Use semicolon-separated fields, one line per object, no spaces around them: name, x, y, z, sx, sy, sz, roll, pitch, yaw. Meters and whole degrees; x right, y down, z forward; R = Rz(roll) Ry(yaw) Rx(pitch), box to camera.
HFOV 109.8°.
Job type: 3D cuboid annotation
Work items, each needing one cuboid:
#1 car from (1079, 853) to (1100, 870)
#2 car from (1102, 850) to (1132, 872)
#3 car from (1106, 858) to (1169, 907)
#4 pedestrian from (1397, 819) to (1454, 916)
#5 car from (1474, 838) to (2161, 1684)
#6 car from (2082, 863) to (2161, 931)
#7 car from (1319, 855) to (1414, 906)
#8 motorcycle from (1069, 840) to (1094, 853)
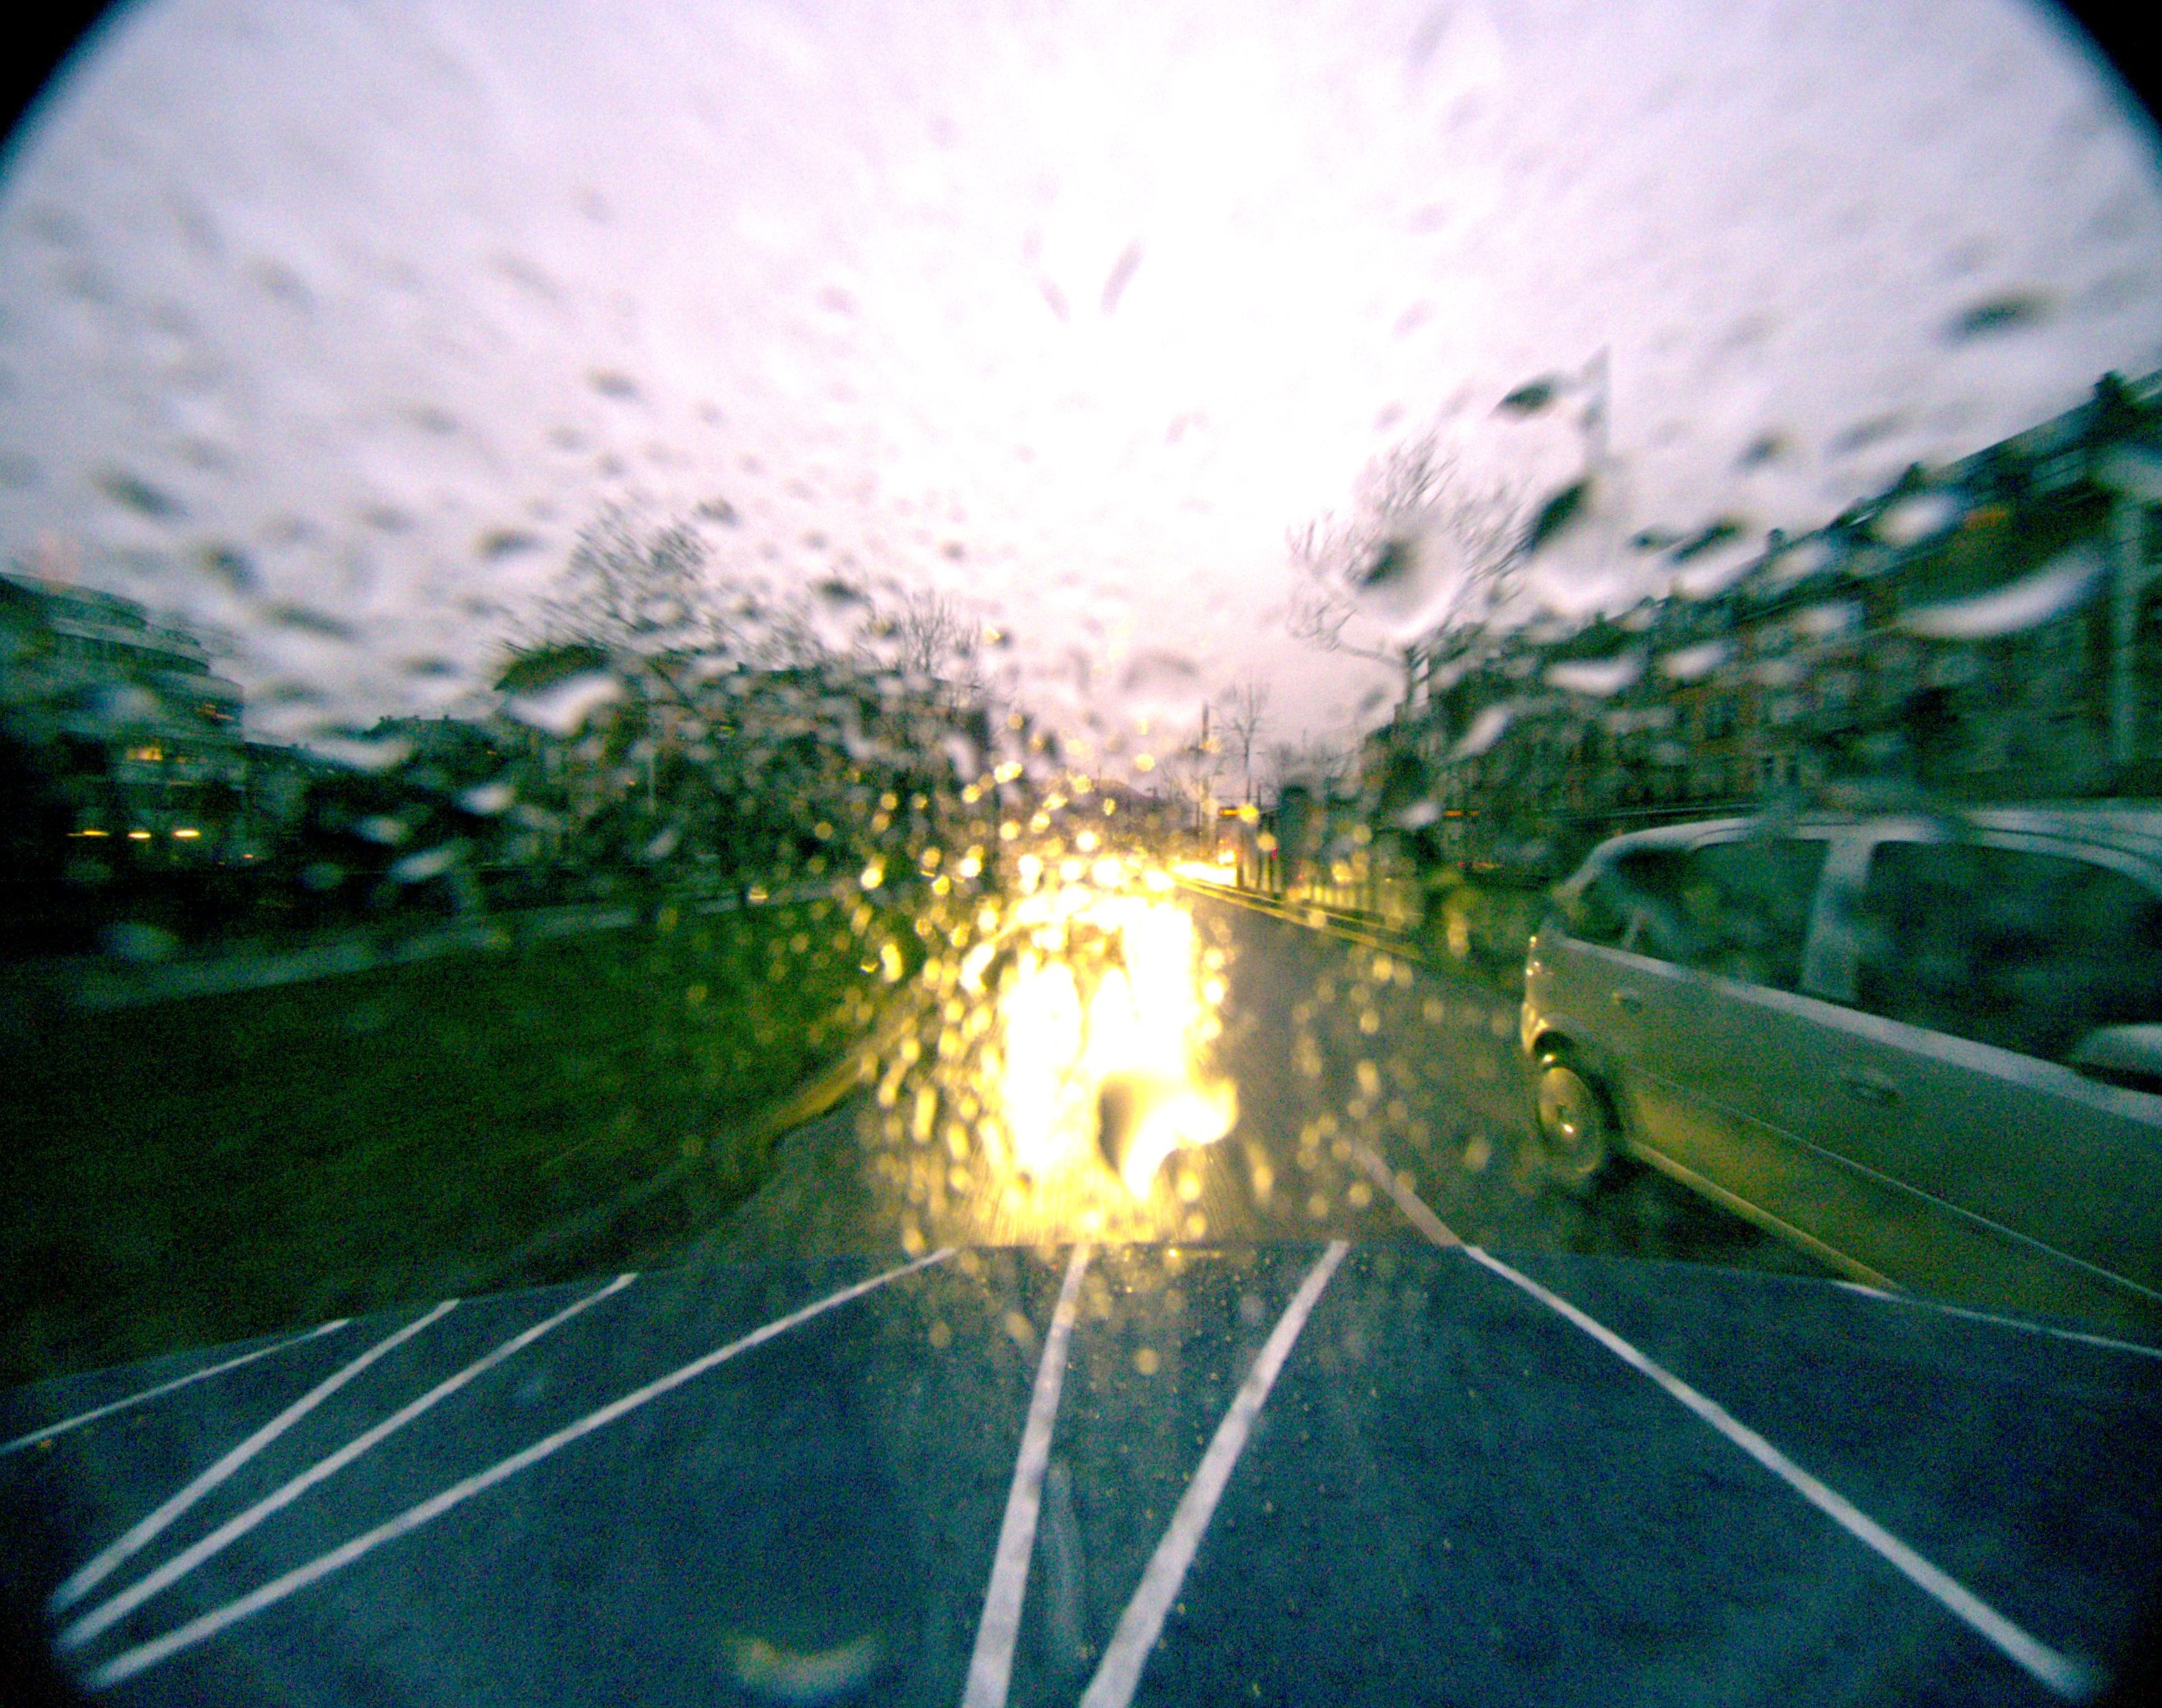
car;0.754;0.651;67.498;1.813;1.384;4.053;-1;0;1
car;2.325;0.443;50.065;1.813;1.384;4.053;-1;0;1
car;1.792;0.881;25.073;1.813;1.384;4.053;-1;0;1
pedestrian;7.371;0.270;16.315;0.876;2.002;0.931;1;1;12
car;2.937;0.765;1.754;1.814;1.591;4.052;-1;0;-3
car;23.213;0.921;15.340;1.682;1.399;3.259;1;1;1
car;9.315;0.810;25.111;1.667;1.477;4.000;1;0;1
motorcycle;0.122;-1.238;126.929;3.997;2.002;0.926;-2;1;1
